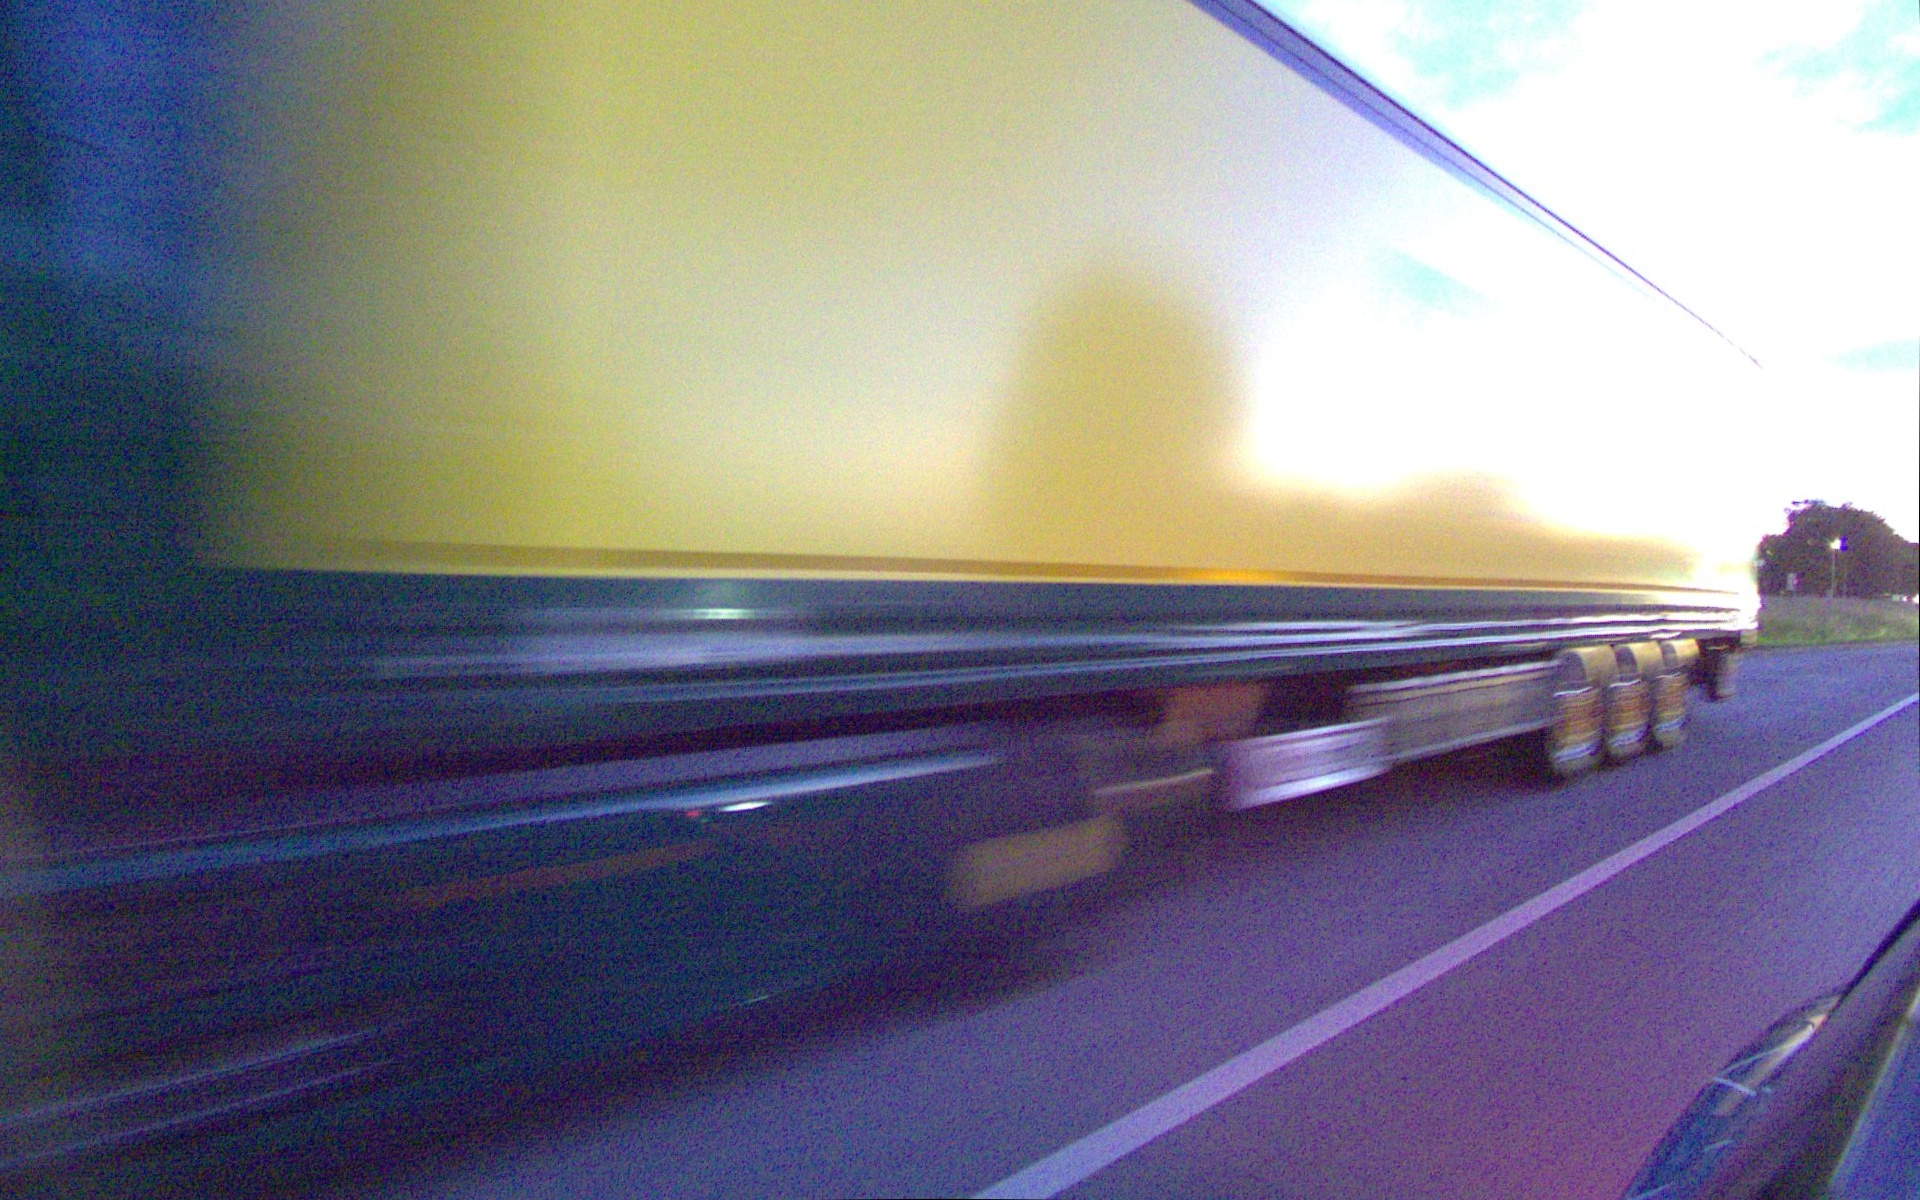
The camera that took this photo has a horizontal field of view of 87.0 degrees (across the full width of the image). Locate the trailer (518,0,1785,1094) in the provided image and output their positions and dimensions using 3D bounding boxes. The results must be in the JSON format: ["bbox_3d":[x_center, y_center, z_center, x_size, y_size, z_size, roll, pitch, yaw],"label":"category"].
[{"bbox_3d":[3.443,-0.624,7.849,12.450,3.860,2.473,-1,0,-41],"label":"trailer"}]

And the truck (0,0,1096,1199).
[{"bbox_3d":[-2.360,-0.538,2.759,5.404,3.847,2.488,-1,0,-41],"label":"truck"}]
